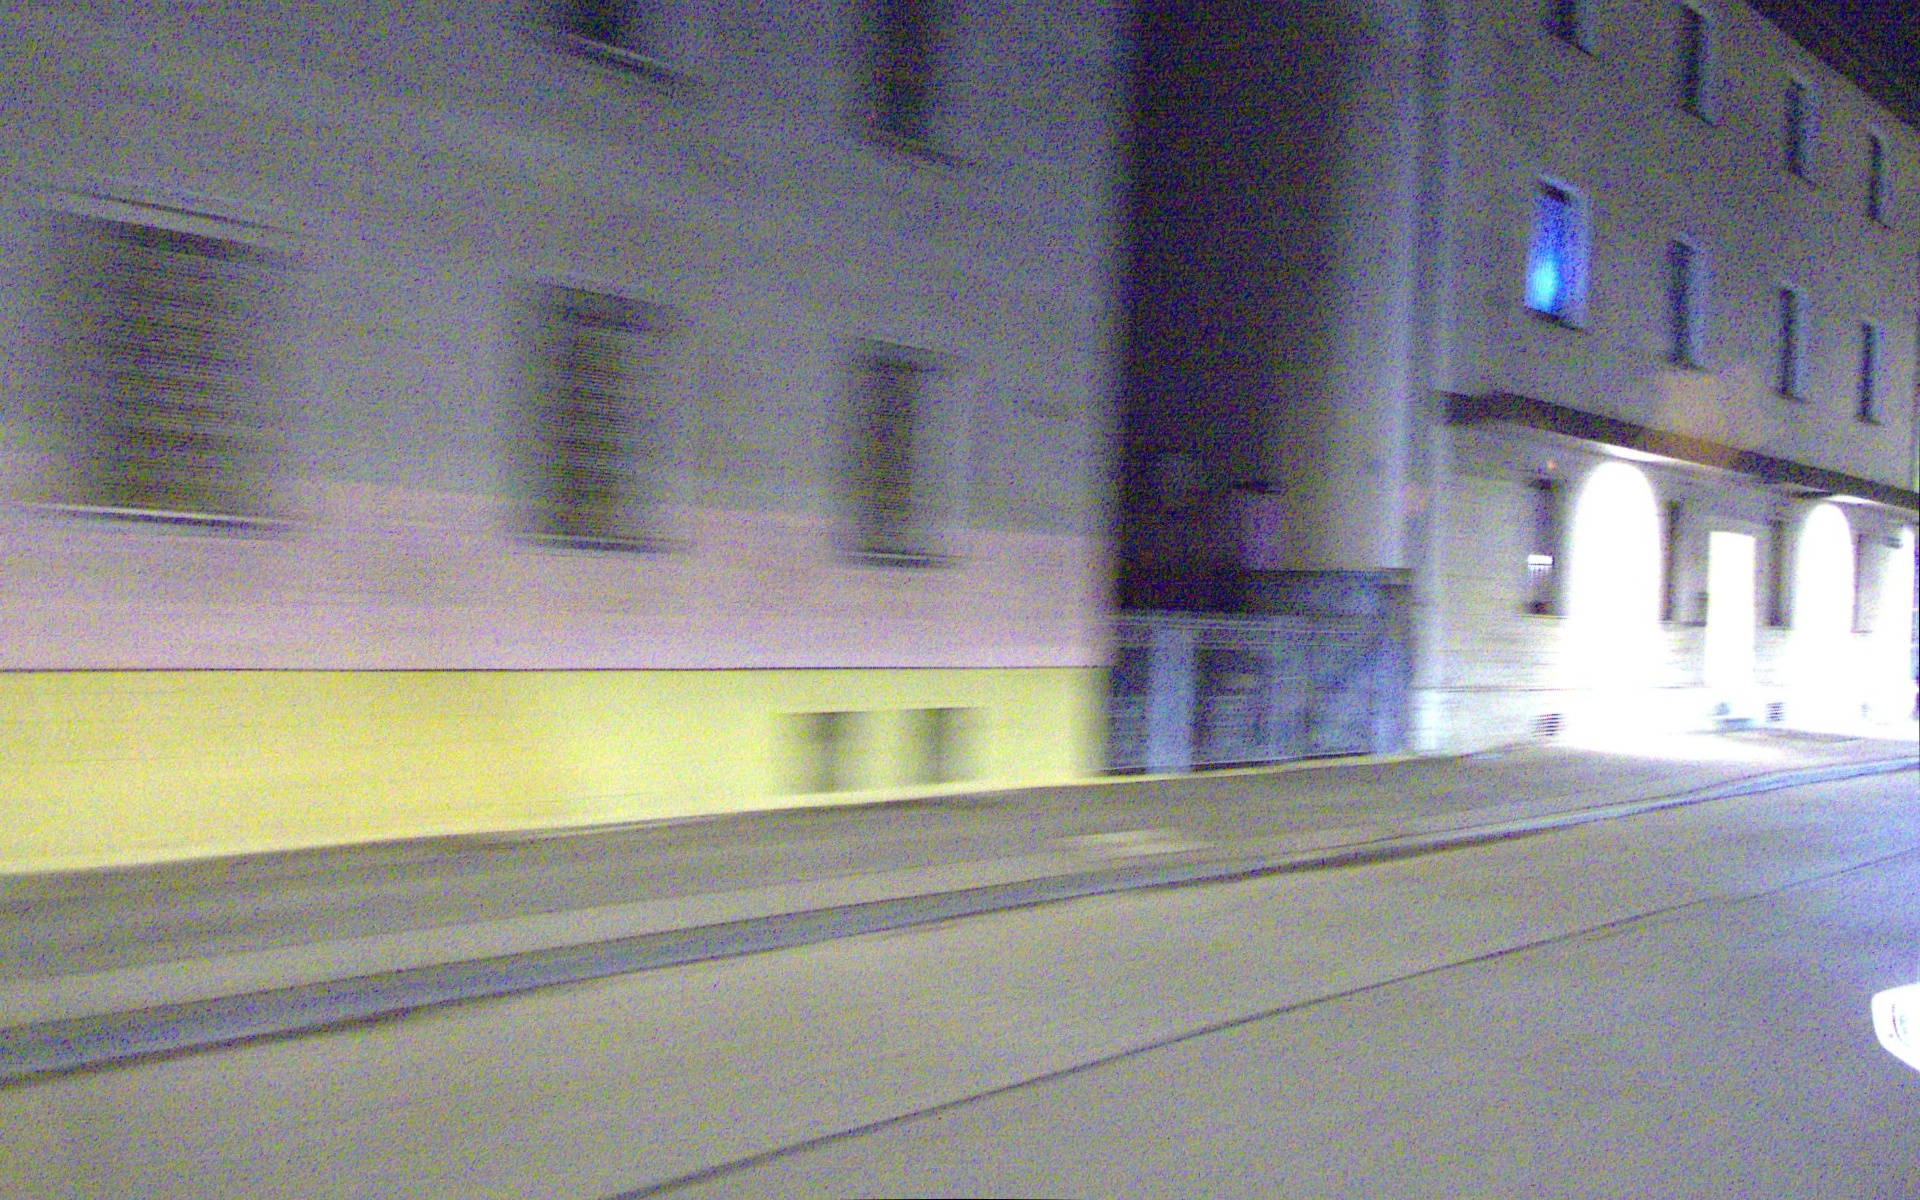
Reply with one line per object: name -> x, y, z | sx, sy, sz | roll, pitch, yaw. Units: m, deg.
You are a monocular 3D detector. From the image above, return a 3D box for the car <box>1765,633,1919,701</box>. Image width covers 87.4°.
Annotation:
car -> 22.441, 1.655, 25.493 | 1.471, 1.533, 2.797 | 2, -1, -29
